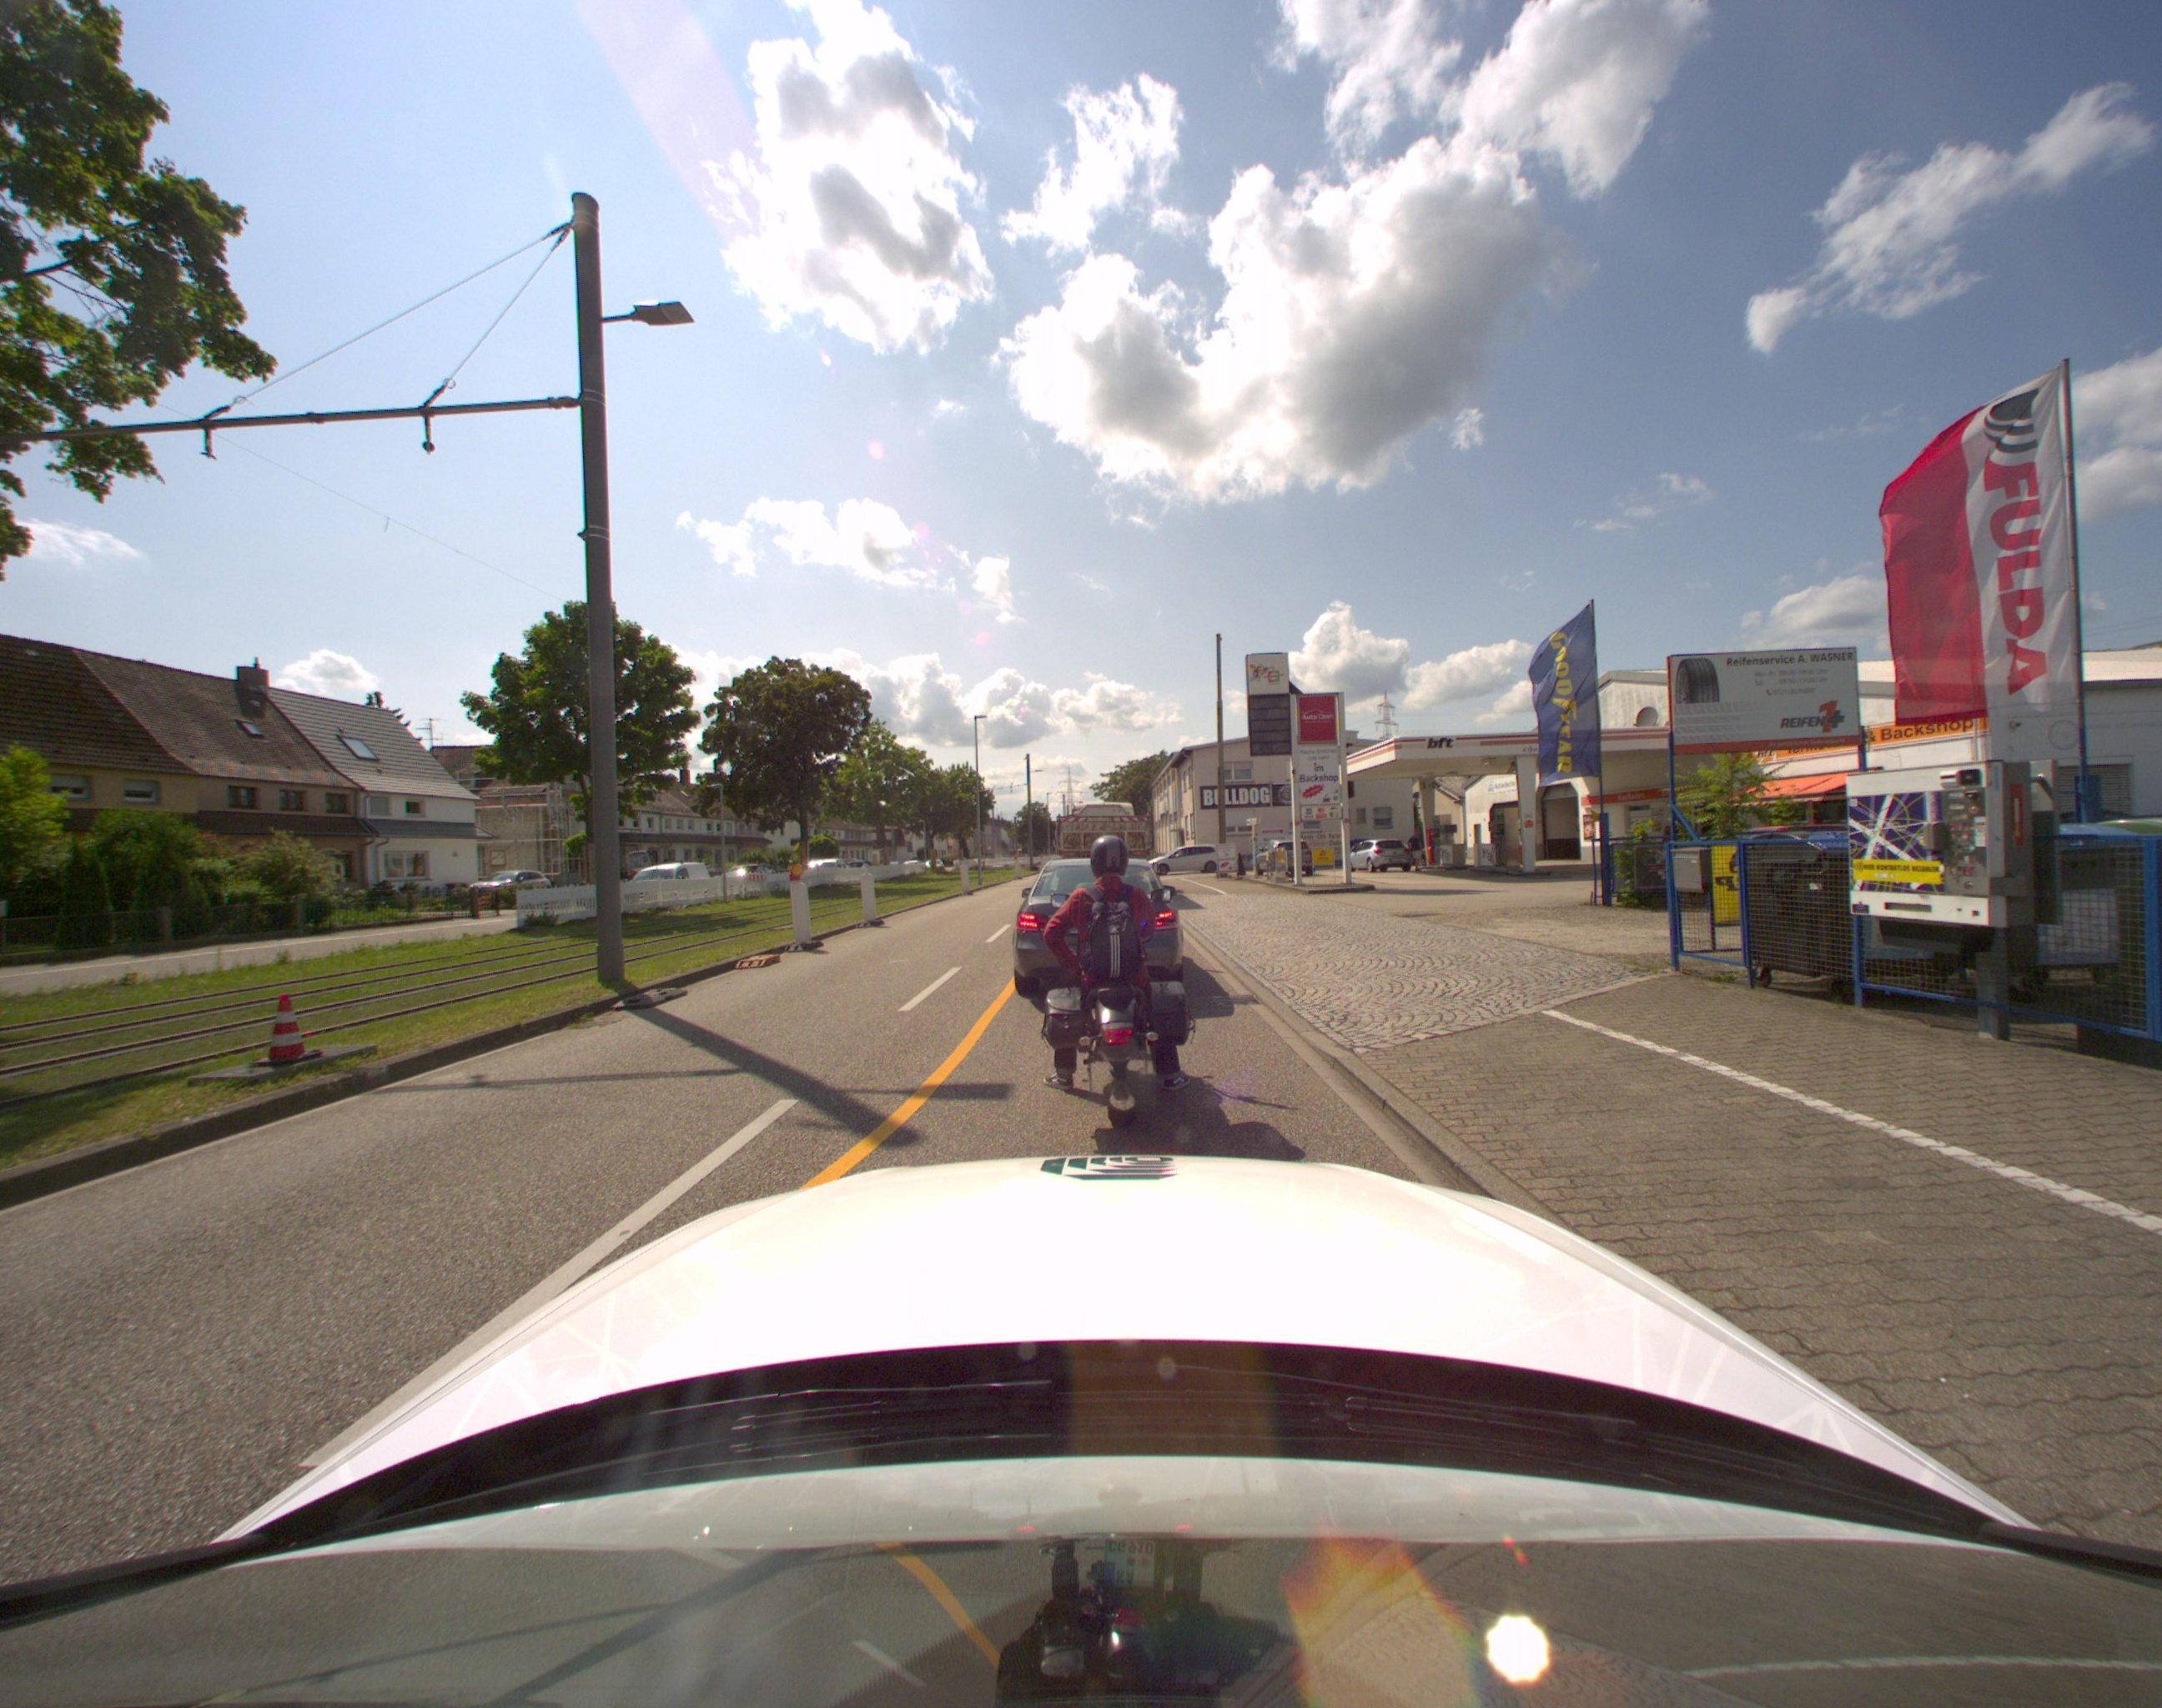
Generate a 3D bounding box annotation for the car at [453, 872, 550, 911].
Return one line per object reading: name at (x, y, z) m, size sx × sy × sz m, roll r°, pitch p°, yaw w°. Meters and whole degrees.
car at (-27.475, 1.727, 38.798) m, size 1.692 × 1.593 × 3.862 m, roll -2°, pitch 0°, yaw 2°

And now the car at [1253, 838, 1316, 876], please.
car at (9.072, 0.118, 36.581) m, size 1.826 × 1.536 × 4.009 m, roll -3°, pitch 0°, yaw 1°

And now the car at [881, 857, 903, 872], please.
car at (-24.373, 1.337, 105.370) m, size 1.692 × 1.739 × 4.064 m, roll -2°, pitch 0°, yaw 2°

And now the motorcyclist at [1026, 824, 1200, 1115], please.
motorcyclist at (0.198, 0.651, 5.201) m, size 0.966 × 1.633 × 1.215 m, roll -1°, pitch 0°, yaw 1°

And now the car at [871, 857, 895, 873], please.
car at (-24.163, 1.335, 99.349) m, size 1.692 × 1.739 × 4.064 m, roll -2°, pitch 0°, yaw 2°

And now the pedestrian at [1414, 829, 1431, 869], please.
pedestrian at (14.846, -0.213, 35.393) m, size 0.628 × 1.683 × 0.626 m, roll -2°, pitch 0°, yaw 23°

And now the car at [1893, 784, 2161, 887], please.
car at (21.253, -0.404, 18.274) m, size 3.972 × 2.013 × 2.001 m, roll -2°, pitch 0°, yaw 1°

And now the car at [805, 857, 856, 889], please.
car at (-15.108, 1.108, 49.397) m, size 1.692 × 1.739 × 3.862 m, roll -2°, pitch 0°, yaw 2°

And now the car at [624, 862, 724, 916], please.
car at (-15.414, 1.274, 31.061) m, size 1.692 × 1.817 × 3.862 m, roll -2°, pitch 0°, yaw 2°

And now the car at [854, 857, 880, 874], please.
car at (-24.460, 1.296, 93.144) m, size 1.692 × 1.739 × 4.064 m, roll -2°, pitch 0°, yaw 2°

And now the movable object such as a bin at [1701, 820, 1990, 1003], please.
movable object such as a bin at (6.829, 0.467, 7.409) m, size 1.222 × 1.454 × 1.455 m, roll -2°, pitch 0°, yaw 0°

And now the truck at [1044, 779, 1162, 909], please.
truck at (0.646, -0.285, 25.609) m, size 2.960 × 3.304 × 8.407 m, roll -2°, pitch 0°, yaw 1°

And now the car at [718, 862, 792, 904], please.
car at (-15.321, 1.321, 38.492) m, size 1.692 × 1.739 × 4.056 m, roll -2°, pitch 0°, yaw 2°

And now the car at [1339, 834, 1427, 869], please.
car at (15.619, -0.126, 42.261) m, size 4.076 × 1.624 × 1.692 m, roll -2°, pitch 0°, yaw 13°

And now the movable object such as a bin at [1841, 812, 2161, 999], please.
movable object such as a bin at (8.108, 0.413, 7.285) m, size 1.222 × 1.454 × 1.455 m, roll -2°, pitch 0°, yaw 0°

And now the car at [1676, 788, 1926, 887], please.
car at (16.606, -0.374, 18.966) m, size 3.972 × 2.013 × 2.001 m, roll -2°, pitch 0°, yaw 1°

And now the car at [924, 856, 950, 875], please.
car at (-14.144, 1.144, 80.353) m, size 1.692 × 1.739 × 3.862 m, roll -2°, pitch 0°, yaw 2°

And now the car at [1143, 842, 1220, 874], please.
car at (5.770, 0.224, 47.054) m, size 4.101 × 1.624 × 1.682 m, roll -3°, pitch 0°, yaw -7°

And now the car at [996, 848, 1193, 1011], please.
car at (0.158, 0.717, 9.816) m, size 1.826 × 1.479 × 4.009 m, roll -3°, pitch 0°, yaw 1°

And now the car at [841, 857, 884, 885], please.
car at (-14.866, 1.136, 55.689) m, size 1.692 × 1.739 × 3.862 m, roll -2°, pitch 0°, yaw 2°

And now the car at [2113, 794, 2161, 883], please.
car at (26.356, -0.436, 18.190) m, size 3.972 × 2.013 × 2.001 m, roll -2°, pitch 0°, yaw 1°

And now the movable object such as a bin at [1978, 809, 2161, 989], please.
movable object such as a bin at (9.453, 0.332, 7.195) m, size 1.425 × 1.454 × 1.455 m, roll -2°, pitch 0°, yaw 0°

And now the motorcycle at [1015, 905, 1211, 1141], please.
motorcycle at (0.199, 0.929, 5.318) m, size 0.972 × 1.013 × 2.433 m, roll -1°, pitch 0°, yaw 2°

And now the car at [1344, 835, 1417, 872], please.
car at (13.543, -0.027, 37.074) m, size 1.826 × 1.479 × 4.009 m, roll -3°, pitch 0°, yaw 1°
